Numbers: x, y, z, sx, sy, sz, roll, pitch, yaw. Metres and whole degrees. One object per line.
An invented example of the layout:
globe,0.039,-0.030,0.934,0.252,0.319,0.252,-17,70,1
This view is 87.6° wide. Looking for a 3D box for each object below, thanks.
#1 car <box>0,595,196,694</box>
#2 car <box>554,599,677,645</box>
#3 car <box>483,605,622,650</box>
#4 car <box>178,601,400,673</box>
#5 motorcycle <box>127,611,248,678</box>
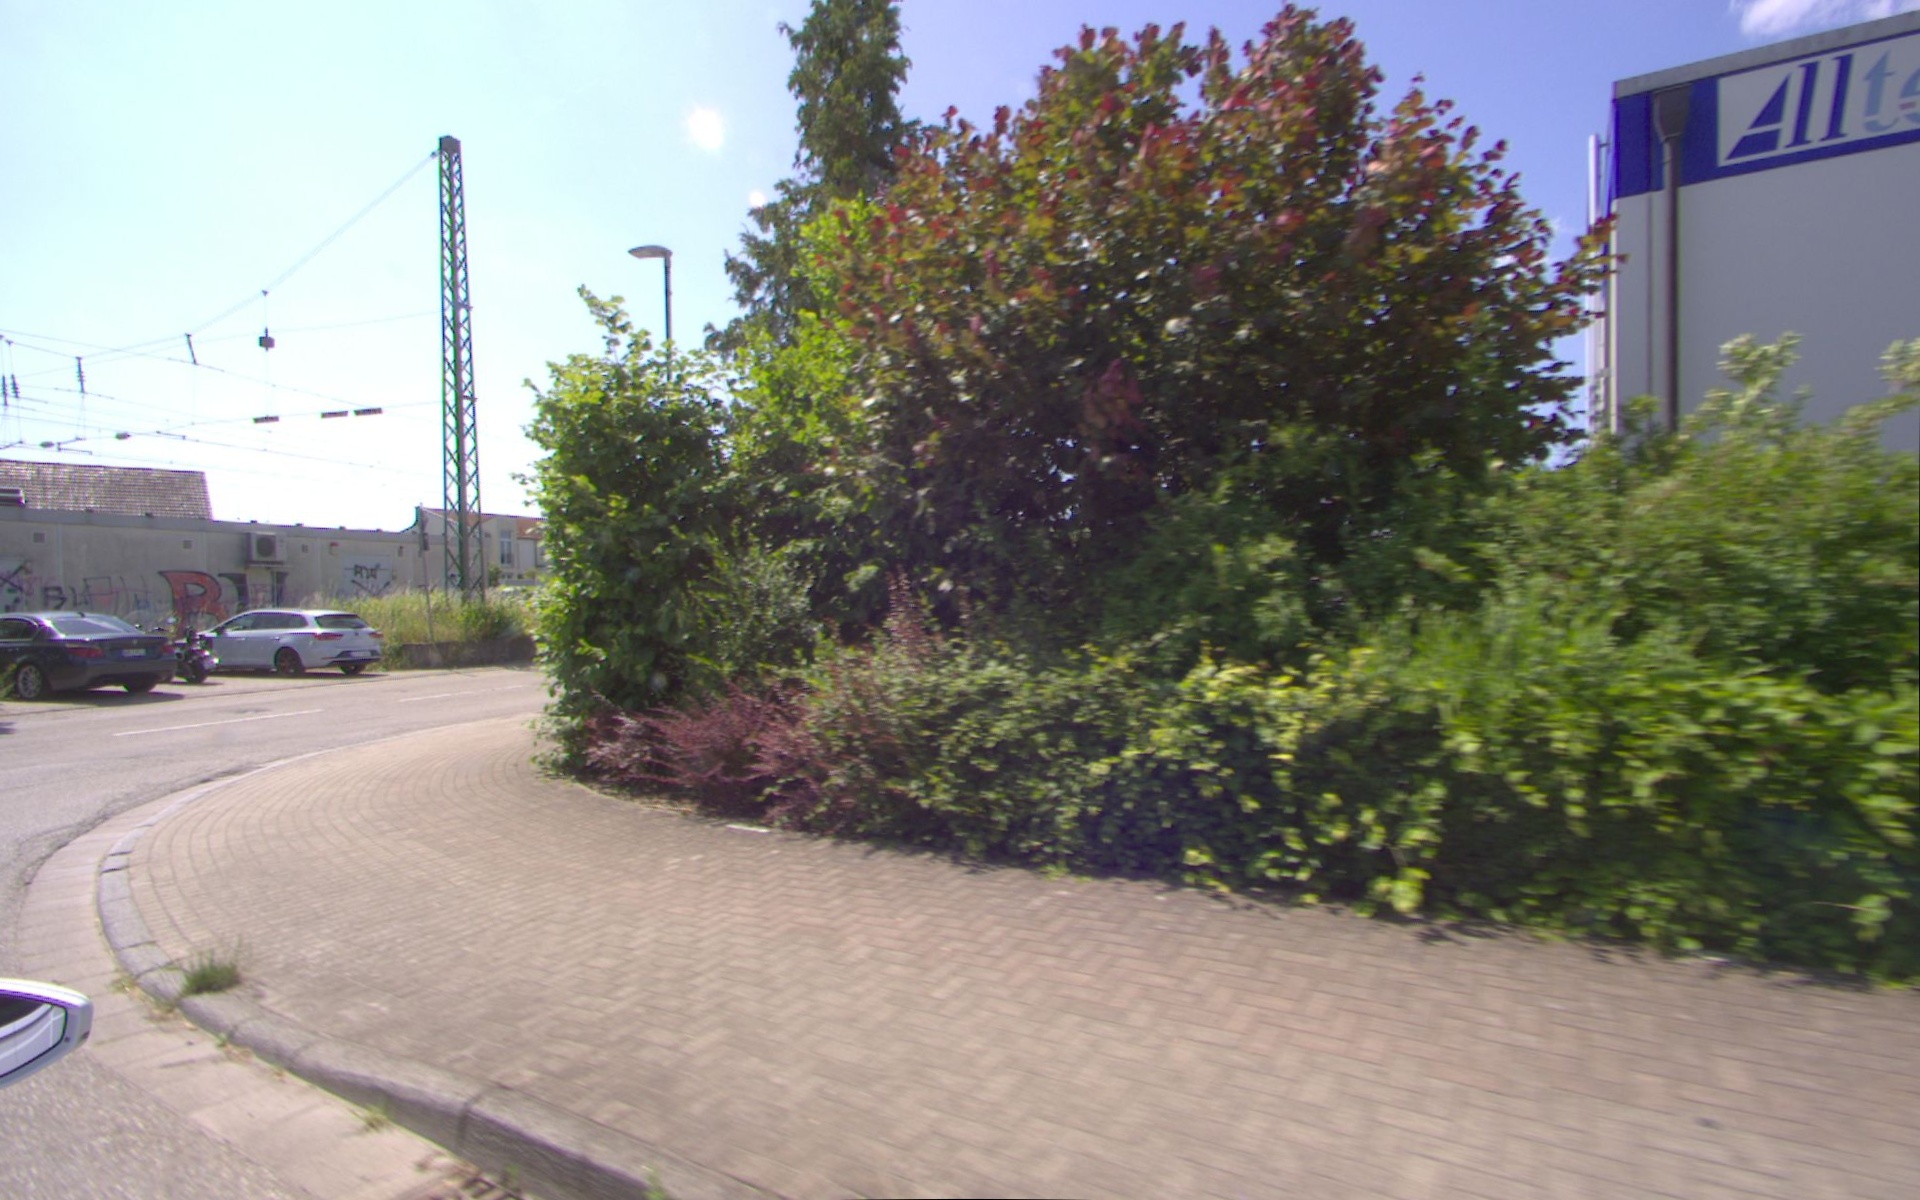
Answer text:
car,-15.571,0.701,17.146,3.924,1.404,1.757,3,0,11
car,-11.679,0.773,33.972,3.773,1.489,1.496,-1,-3,16
car,-12.370,0.869,30.429,3.773,1.295,1.496,-1,-3,16
car,-14.608,0.783,21.878,4.036,1.395,1.707,1,-1,13
motorcycle,-15.237,0.856,19.775,1.959,1.245,0.899,1,1,16
